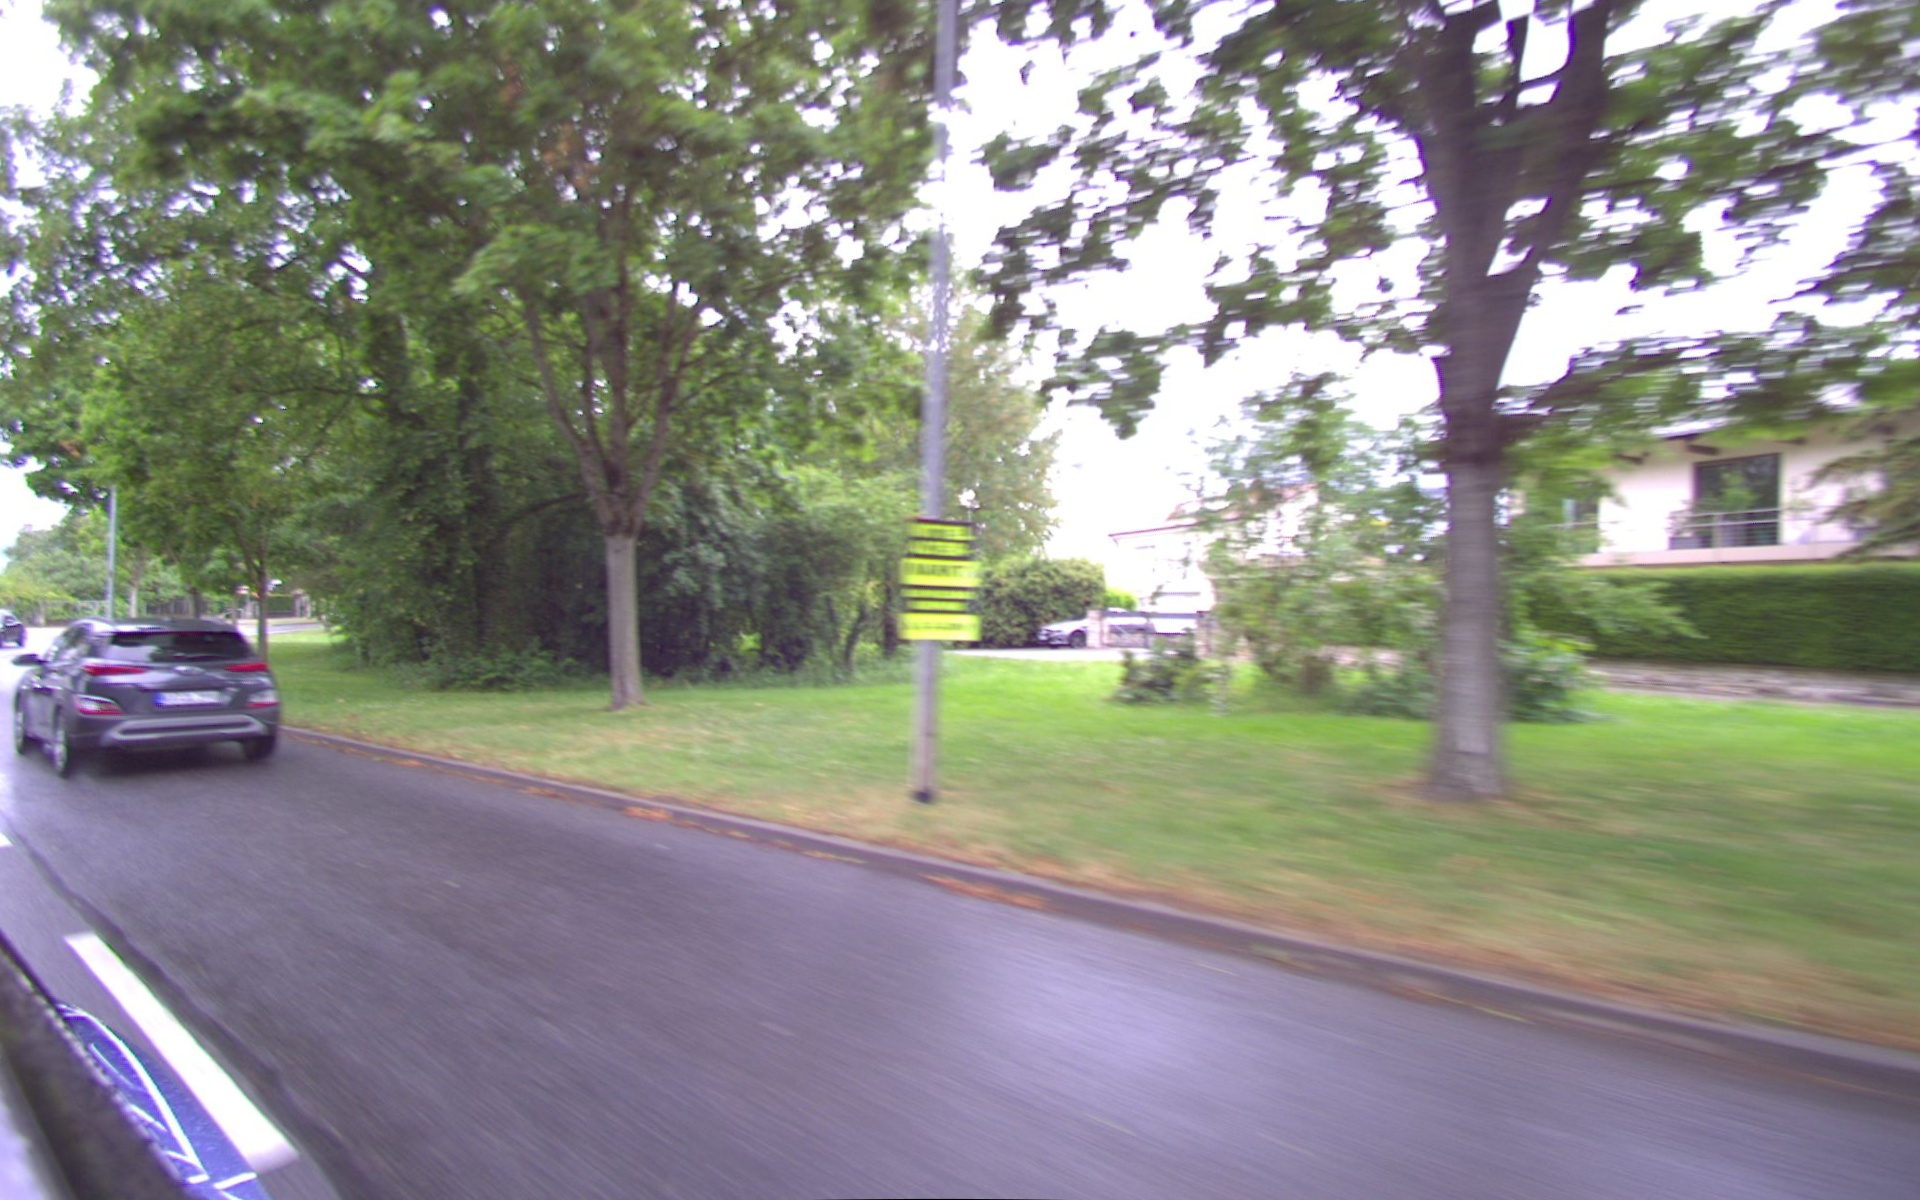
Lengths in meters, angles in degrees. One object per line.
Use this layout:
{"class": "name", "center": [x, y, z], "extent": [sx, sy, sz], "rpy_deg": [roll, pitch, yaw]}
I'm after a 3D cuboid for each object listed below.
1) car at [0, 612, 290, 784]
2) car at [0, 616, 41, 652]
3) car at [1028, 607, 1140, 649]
{"class": "car", "center": [-9.095, 0.947, 11.150], "extent": [4.089, 1.549, 1.771], "rpy_deg": [-2, -2, 40]}
{"class": "car", "center": [-39.296, 1.386, 40.658], "extent": [1.897, 1.393, 4.321], "rpy_deg": [-1, 0, -17]}
{"class": "car", "center": [4.440, 0.985, 36.314], "extent": [3.538, 1.386, 1.803], "rpy_deg": [-1, 0, -20]}
